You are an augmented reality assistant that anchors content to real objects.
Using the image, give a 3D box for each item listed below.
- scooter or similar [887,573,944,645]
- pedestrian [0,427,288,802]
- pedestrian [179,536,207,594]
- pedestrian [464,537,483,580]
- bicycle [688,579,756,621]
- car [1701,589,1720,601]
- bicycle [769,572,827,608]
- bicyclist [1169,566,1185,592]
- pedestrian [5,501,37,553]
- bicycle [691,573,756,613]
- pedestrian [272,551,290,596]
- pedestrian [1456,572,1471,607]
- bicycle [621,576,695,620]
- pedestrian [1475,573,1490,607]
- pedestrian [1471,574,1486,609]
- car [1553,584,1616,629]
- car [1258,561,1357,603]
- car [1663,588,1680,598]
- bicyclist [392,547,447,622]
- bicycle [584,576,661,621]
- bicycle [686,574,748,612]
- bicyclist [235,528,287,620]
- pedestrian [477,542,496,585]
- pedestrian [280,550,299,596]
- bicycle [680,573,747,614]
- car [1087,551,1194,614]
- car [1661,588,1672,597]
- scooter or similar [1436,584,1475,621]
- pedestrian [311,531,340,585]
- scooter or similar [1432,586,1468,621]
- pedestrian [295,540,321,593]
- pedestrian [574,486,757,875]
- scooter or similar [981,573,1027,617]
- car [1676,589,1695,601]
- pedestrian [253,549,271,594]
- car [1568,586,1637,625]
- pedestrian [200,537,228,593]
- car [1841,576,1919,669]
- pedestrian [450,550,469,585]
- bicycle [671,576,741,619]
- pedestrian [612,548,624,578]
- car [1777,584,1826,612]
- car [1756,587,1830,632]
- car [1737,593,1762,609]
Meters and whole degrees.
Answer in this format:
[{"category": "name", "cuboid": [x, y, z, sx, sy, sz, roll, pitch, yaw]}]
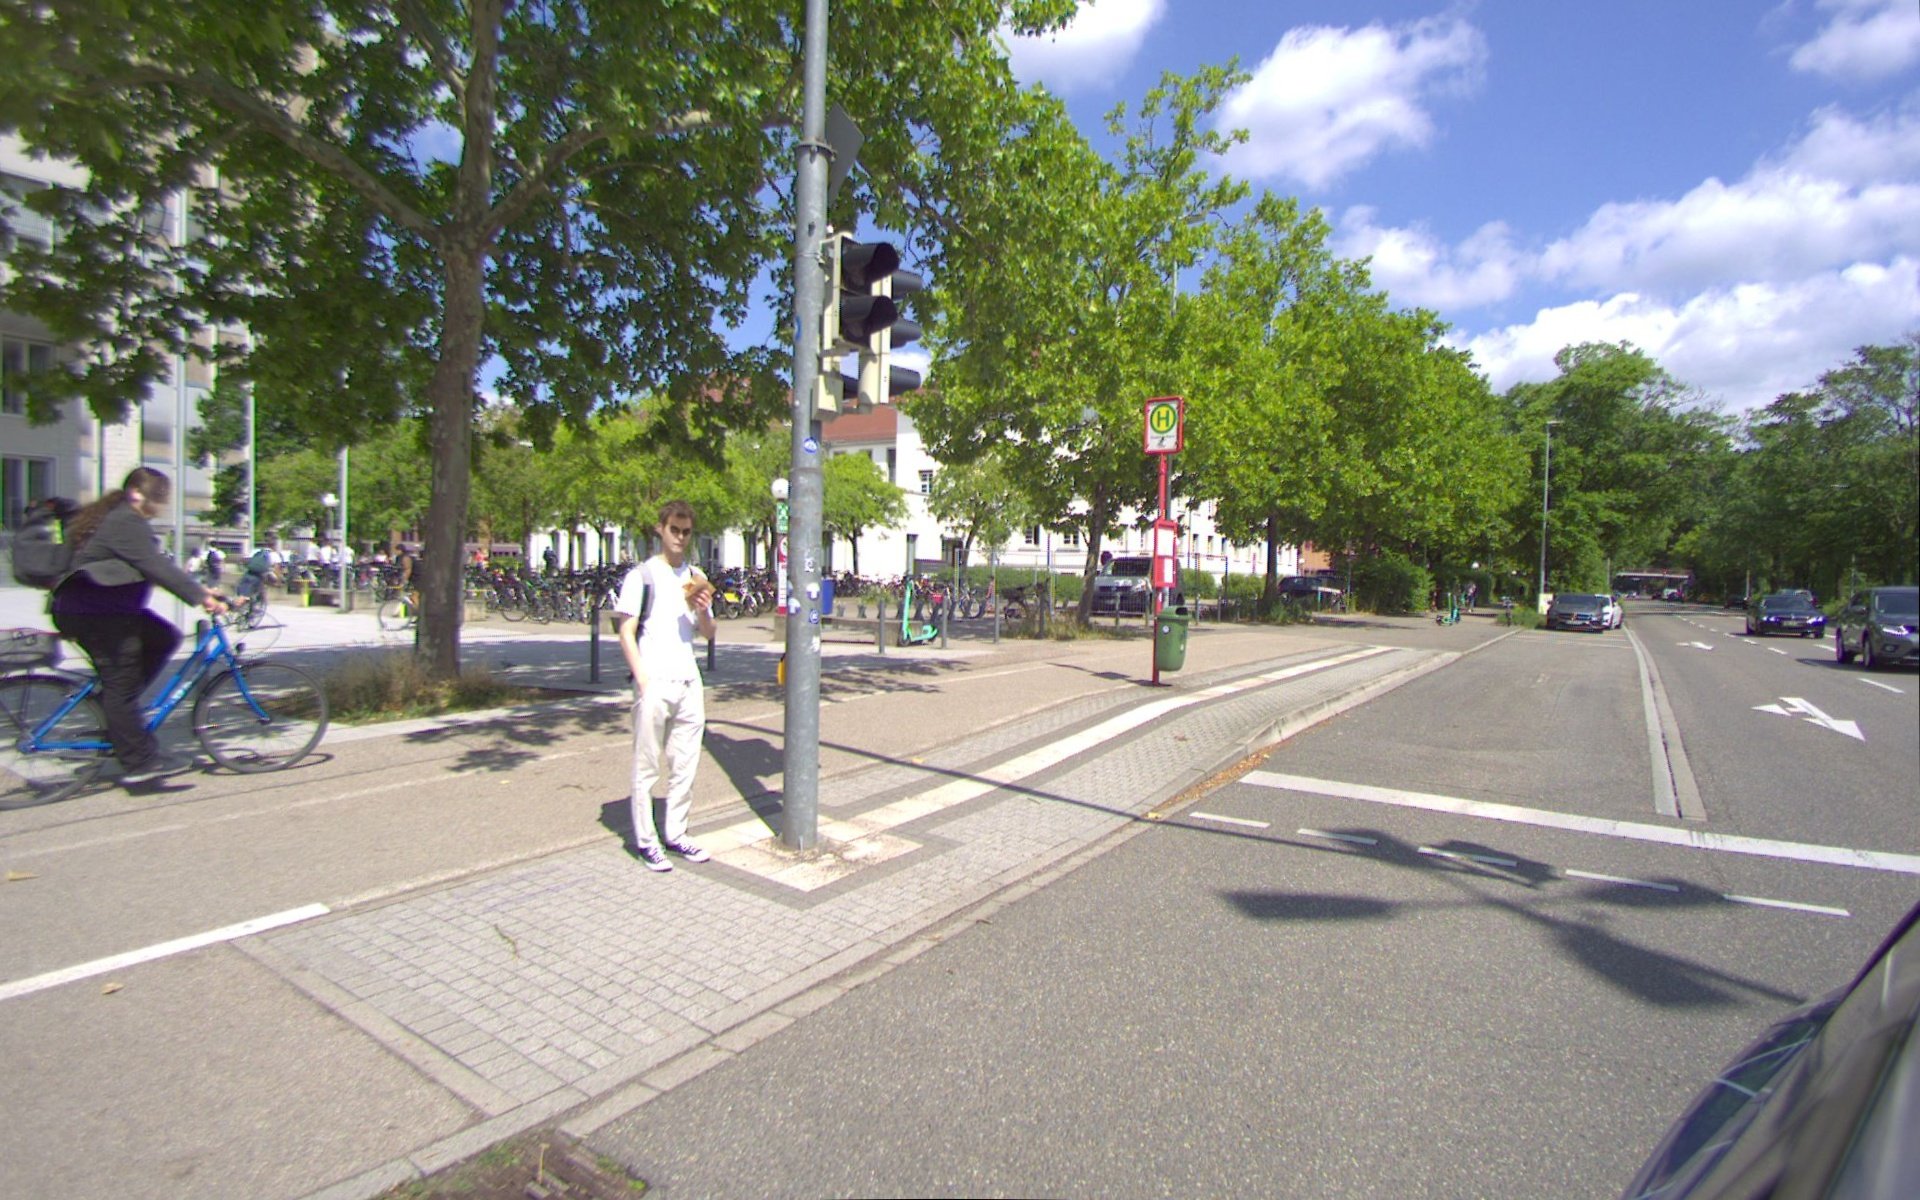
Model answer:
[{"category": "scooter or similar", "cuboid": [-0.742, 0.140, 17.131, 0.351, 1.180, 1.178, 0, 0, 33]}, {"category": "pedestrian", "cuboid": [-4.590, 0.013, 5.671, 0.852, 1.840, 1.161, 7, 6, 36]}, {"category": "pedestrian", "cuboid": [-24.052, -1.091, 31.744, 0.621, 1.768, 0.717, -1, 0, -31]}, {"category": "pedestrian", "cuboid": [-25.882, -2.193, 53.813, 0.622, 2.257, 0.716, -1, 0, 3]}, {"category": "bicycle", "cuboid": [-6.594, -0.014, 28.092, 1.735, 1.112, 0.603, 1, 0, 3]}, {"category": "car", "cuboid": [98.222, -0.687, 132.483, 1.890, 1.530, 3.775, 0, 1, 38]}, {"category": "bicycle", "cuboid": [-5.167, -0.325, 32.351, 1.735, 1.113, 0.603, -1, 0, 3]}, {"category": "bicyclist", "cuboid": [11.437, -1.087, 53.396, 0.602, 1.336, 0.735, 3, 2, 28]}, {"category": "pedestrian", "cuboid": [-33.817, -2.606, 36.446, 0.712, 1.820, 0.711, 0, 0, 36]}, {"category": "bicycle", "cuboid": [-6.887, -0.201, 29.502, 1.735, 1.112, 0.603, 2, 0, 3]}, {"category": "pedestrian", "cuboid": [-34.577, -1.333, 51.545, 0.703, 2.257, 0.633, -1, 0, -38]}, {"category": "pedestrian", "cuboid": [26.311, -0.543, 52.913, 0.678, 1.803, 0.783, 0, 0, 29]}, {"category": "bicycle", "cuboid": [-7.812, -0.061, 26.175, 1.735, 1.113, 0.603, -1, 0, 3]}, {"category": "pedestrian", "cuboid": [28.243, -0.550, 54.682, 0.677, 1.803, 0.784, 0, 0, 26]}, {"category": "pedestrian", "cuboid": [26.952, -0.451, 52.587, 0.677, 1.803, 0.784, 0, 0, 26]}, {"category": "car", "cuboid": [23.623, 0.238, 38.217, 1.850, 1.497, 4.882, 4, 2, 33]}, {"category": "car", "cuboid": [15.748, -0.804, 45.916, 3.967, 1.805, 1.978, 0, 1, 31]}, {"category": "car", "cuboid": [107.771, -1.066, 153.196, 1.890, 1.530, 3.775, 0, 1, 38]}, {"category": "bicyclist", "cuboid": [-11.591, -0.330, 21.734, 0.913, 1.583, 0.664, 1, 1, -15]}, {"category": "bicycle", "cuboid": [-8.499, -0.045, 25.537, 1.735, 1.113, 0.603, -1, 0, 3]}, {"category": "bicycle", "cuboid": [-7.344, -0.212, 30.615, 1.735, 1.112, 0.603, 1, 0, 3]}, {"category": "bicyclist", "cuboid": [-14.390, -0.530, 20.860, 0.648, 1.868, 0.763, -1, 0, -16]}, {"category": "pedestrian", "cuboid": [-25.112, -1.933, 53.667, 0.622, 2.257, 0.716, -1, 0, 3]}, {"category": "pedestrian", "cuboid": [-33.147, -1.326, 50.040, 0.703, 2.257, 0.633, -1, 0, -38]}, {"category": "bicycle", "cuboid": [-6.994, -0.194, 28.766, 1.735, 1.112, 0.603, 1, 1, 3]}, {"category": "car", "cuboid": [5.947, -0.581, 32.896, 1.888, 1.888, 4.889, 1, 1, 30]}, {"category": "car", "cuboid": [132.663, -1.441, 190.057, 1.746, 1.530, 3.781, 0, 1, 35]}, {"category": "scooter or similar", "cuboid": [18.043, 0.086, 36.842, 1.262, 1.262, 0.531, 2, 1, -22]}, {"category": "pedestrian", "cuboid": [-27.231, -1.792, 43.454, 0.840, 2.257, 0.633, -1, 0, 6]}, {"category": "scooter or similar", "cuboid": [16.824, 0.124, 34.735, 1.548, 1.183, 0.529, 1, 2, -43]}, {"category": "pedestrian", "cuboid": [-28.053, -1.443, 43.529, 0.703, 2.257, 0.634, -1, 0, 3]}, {"category": "pedestrian", "cuboid": [-1.496, 0.360, 5.151, 0.593, 1.822, 0.603, 4, 2, 38]}, {"category": "scooter or similar", "cuboid": [1.246, -0.152, 28.859, 1.282, 1.248, 0.279, 1, 2, 20]}, {"category": "car", "cuboid": [97.345, -0.722, 135.693, 1.890, 1.530, 3.775, 0, 1, 38]}, {"category": "pedestrian", "cuboid": [-35.181, -1.425, 50.985, 0.703, 2.257, 0.633, -1, 0, -38]}, {"category": "car", "cuboid": [26.887, 0.227, 42.289, 1.736, 1.468, 4.869, 4, 2, 40]}, {"category": "pedestrian", "cuboid": [-23.615, -1.099, 32.056, 0.621, 1.768, 0.717, -1, 0, -31]}, {"category": "car", "cuboid": [19.241, 0.400, 20.246, 1.812, 1.700, 4.425, 1, 1, 33]}, {"category": "pedestrian", "cuboid": [-26.561, -1.715, 53.737, 0.622, 1.799, 0.716, -1, 0, 3]}, {"category": "bicycle", "cuboid": [-6.834, -0.072, 27.281, 1.735, 1.113, 0.603, -1, 0, 3]}, {"category": "pedestrian", "cuboid": [-19.744, -2.122, 58.414, 0.441, 1.738, 0.501, 3, 2, 29]}, {"category": "car", "cuboid": [58.874, -0.204, 70.914, 1.889, 1.834, 4.680, 2, 2, 31]}, {"category": "car", "cuboid": [29.072, 0.289, 35.286, 1.823, 1.433, 4.128, 1, 1, 42]}, {"category": "car", "cuboid": [77.761, 0.115, 99.718, 1.890, 1.530, 3.775, 0, 1, 38]}]
